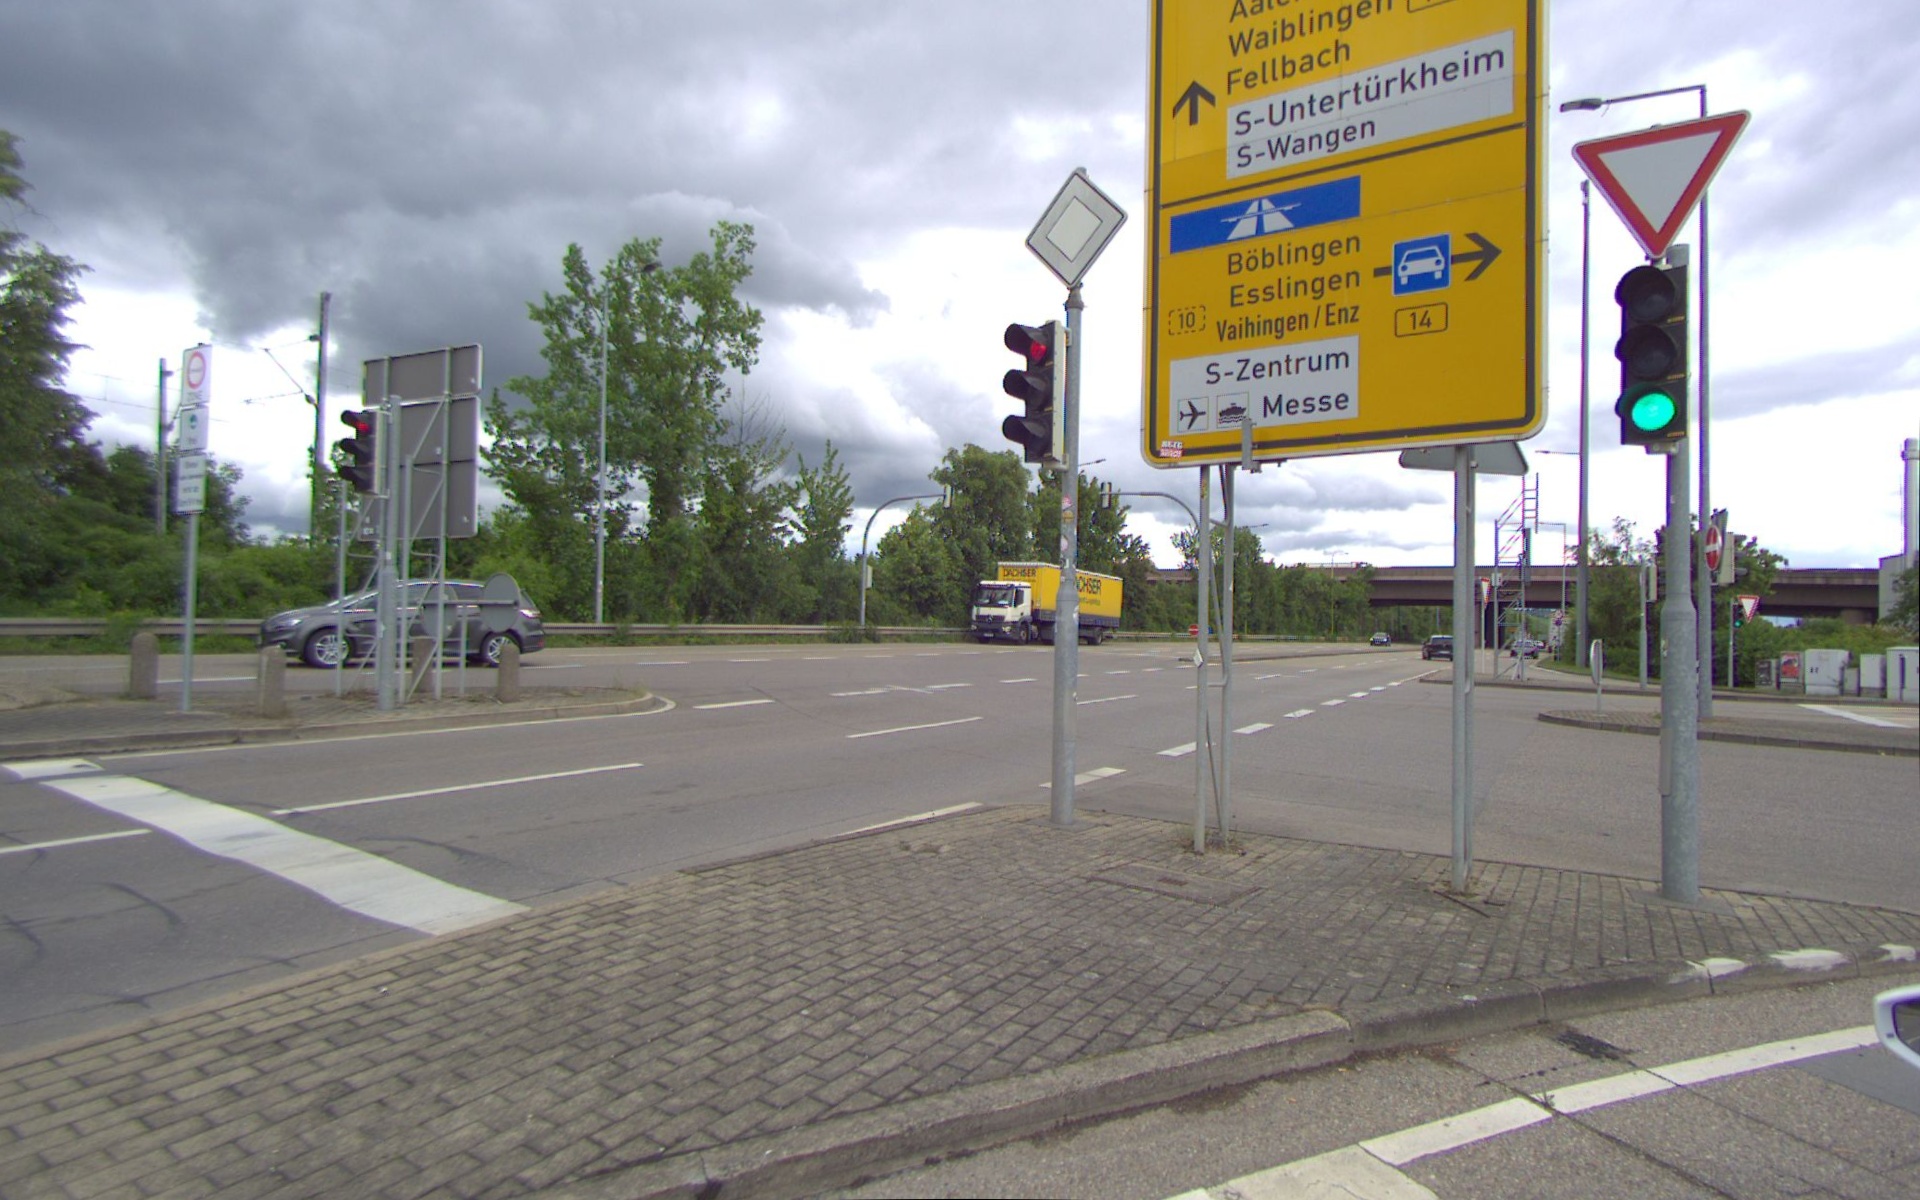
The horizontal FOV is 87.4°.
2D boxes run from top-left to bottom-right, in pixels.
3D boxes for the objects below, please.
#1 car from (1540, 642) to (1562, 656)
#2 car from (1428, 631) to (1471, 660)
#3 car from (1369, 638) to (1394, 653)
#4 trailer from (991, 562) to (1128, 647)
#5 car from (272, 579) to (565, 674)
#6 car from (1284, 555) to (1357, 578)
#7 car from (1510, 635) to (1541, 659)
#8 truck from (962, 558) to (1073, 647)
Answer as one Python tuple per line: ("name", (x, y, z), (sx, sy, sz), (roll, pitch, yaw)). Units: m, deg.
("car", (71.542, 5.914, 121.527), (1.967, 1.483, 4.099), (2, -3, 35))
("car", (28.357, 2.603, 58.119), (1.881, 1.440, 3.987), (5, 0, 30))
("car", (46.825, 5.011, 111.477), (1.837, 1.402, 3.857), (5, 3, 33))
("trailer", (5.816, 0.311, 55.889), (2.830, 4.139, 11.403), (3, 1, 30))
("car", (-10.248, 0.479, 19.204), (4.655, 1.592, 1.933), (1, 0, -40))
("car", (59.690, -5.603, 166.505), (3.465, 3.071, 11.021), (2, 3, -42))
("car", (45.905, 3.792, 81.460), (1.882, 1.684, 4.736), (5, 2, 32))
("truck", (3.052, 0.160, 51.169), (2.830, 4.139, 6.474), (3, 1, 31))
